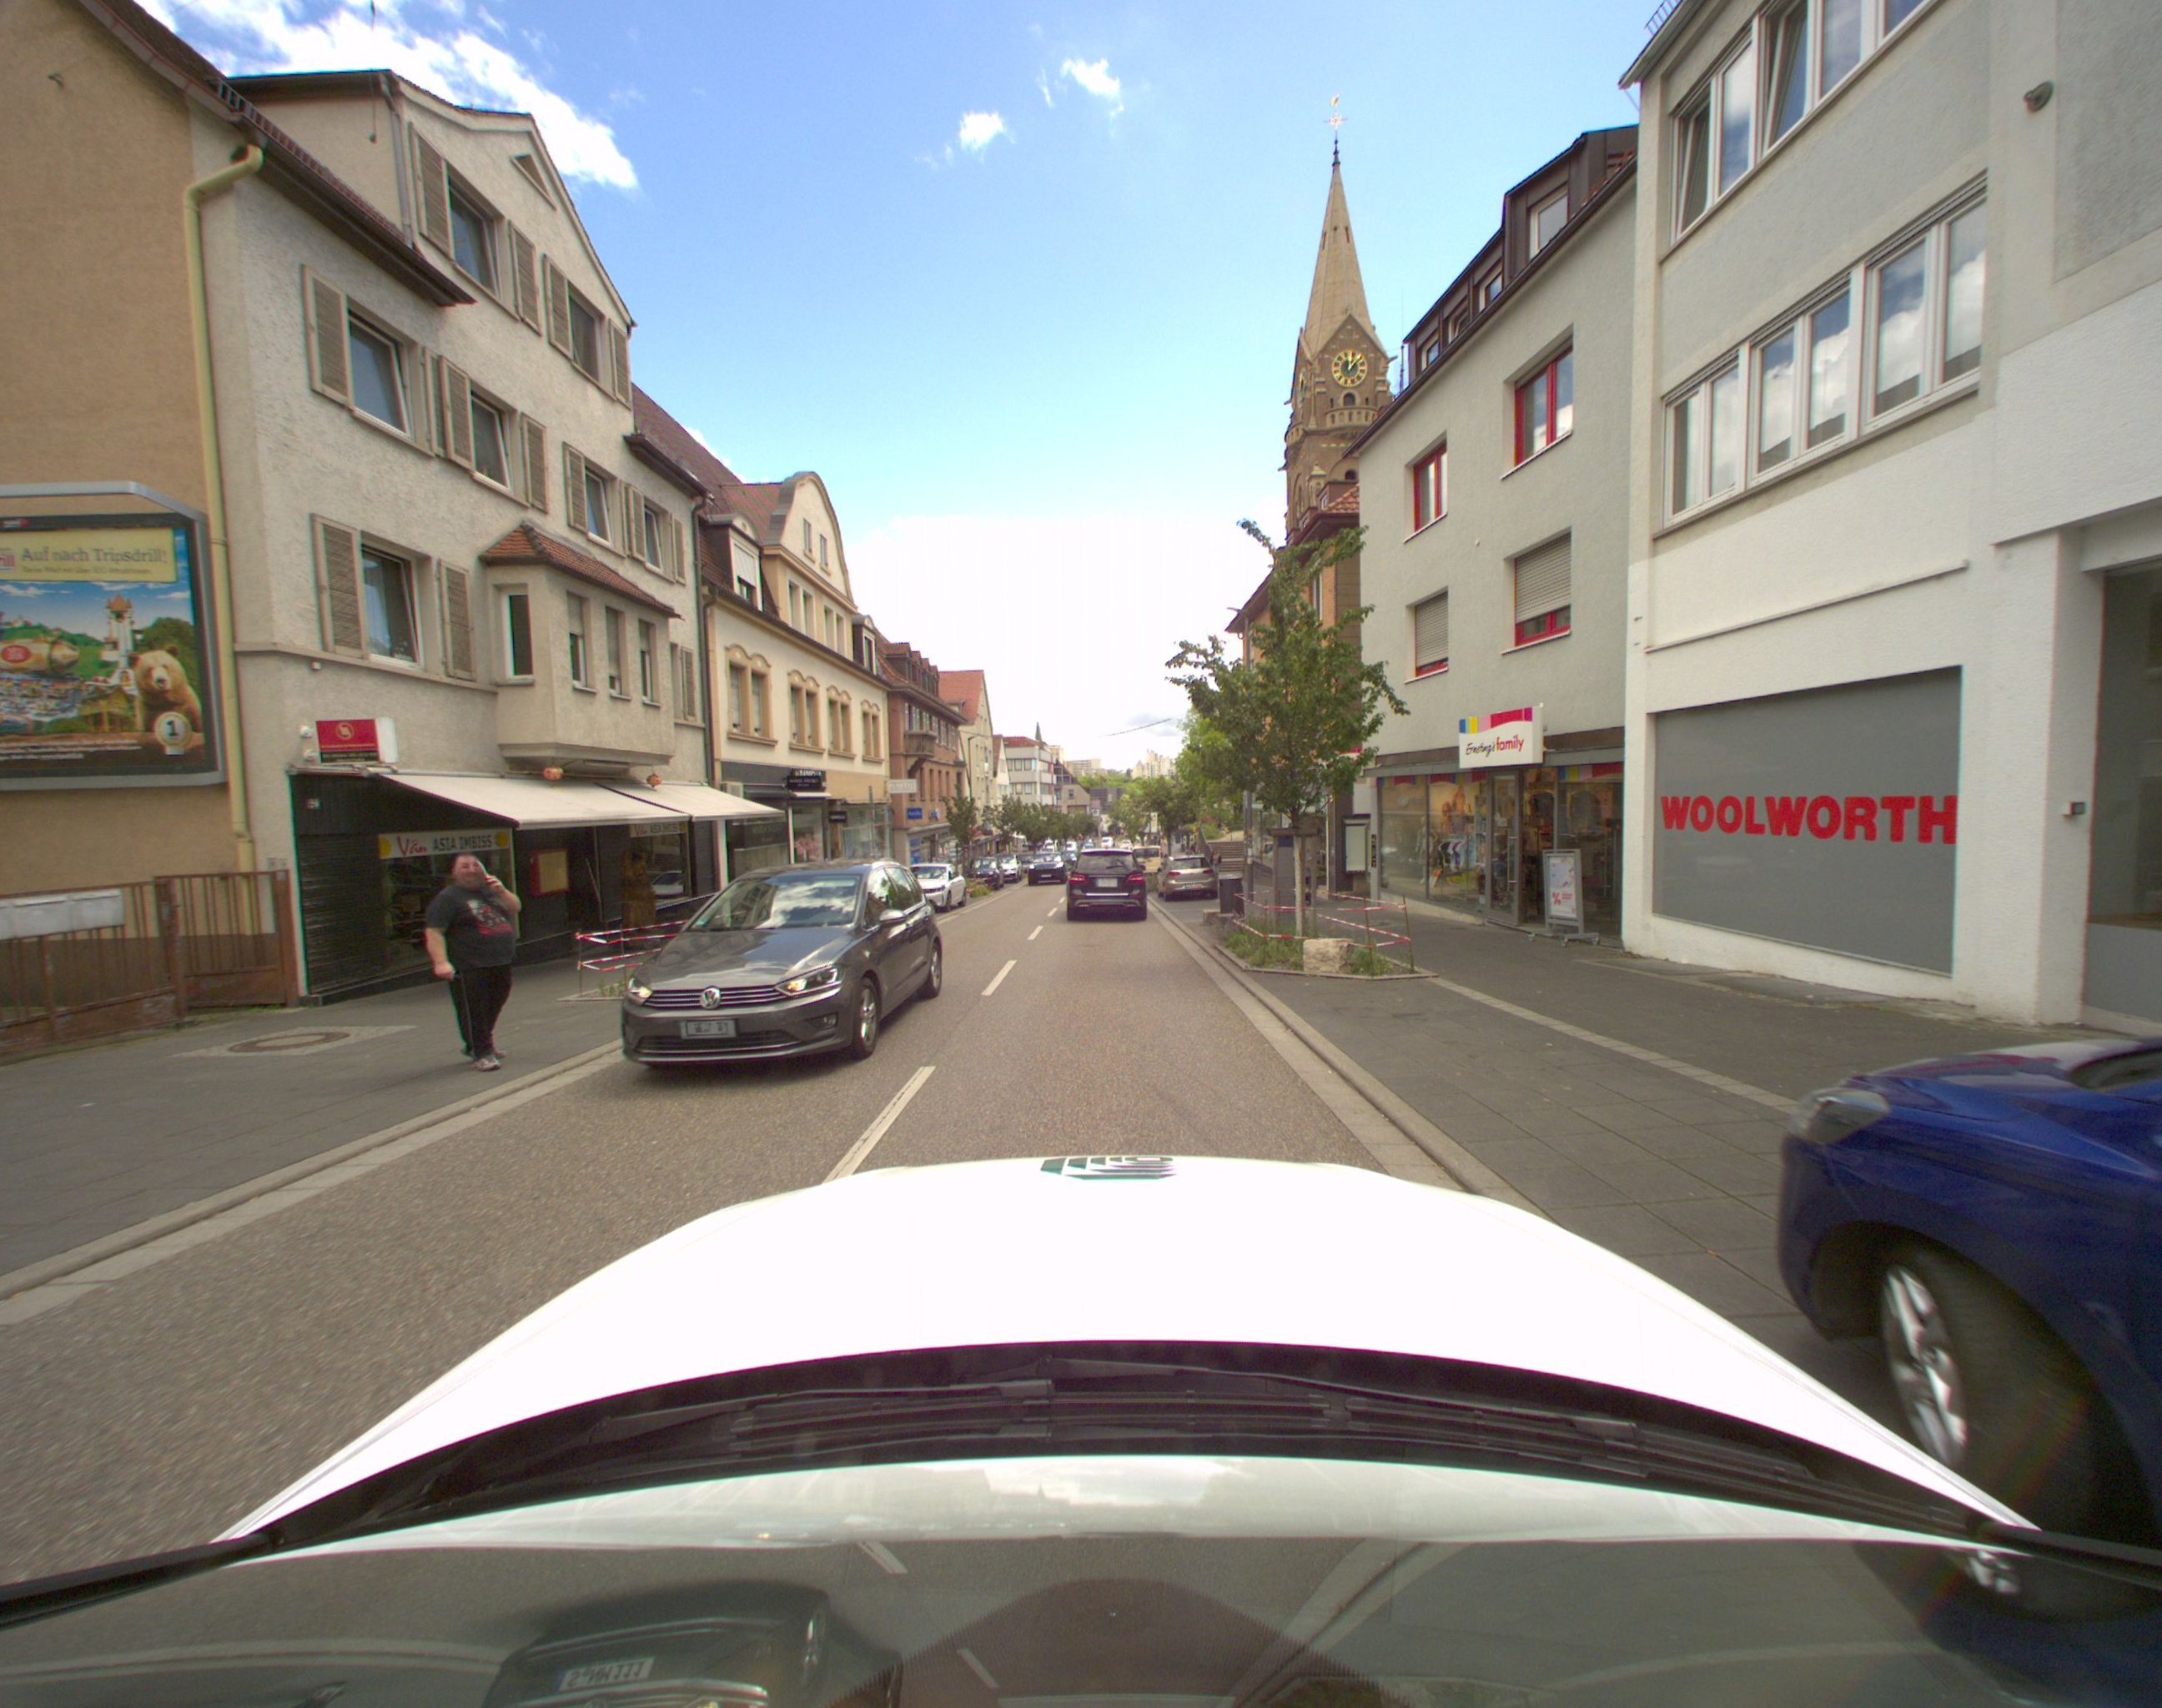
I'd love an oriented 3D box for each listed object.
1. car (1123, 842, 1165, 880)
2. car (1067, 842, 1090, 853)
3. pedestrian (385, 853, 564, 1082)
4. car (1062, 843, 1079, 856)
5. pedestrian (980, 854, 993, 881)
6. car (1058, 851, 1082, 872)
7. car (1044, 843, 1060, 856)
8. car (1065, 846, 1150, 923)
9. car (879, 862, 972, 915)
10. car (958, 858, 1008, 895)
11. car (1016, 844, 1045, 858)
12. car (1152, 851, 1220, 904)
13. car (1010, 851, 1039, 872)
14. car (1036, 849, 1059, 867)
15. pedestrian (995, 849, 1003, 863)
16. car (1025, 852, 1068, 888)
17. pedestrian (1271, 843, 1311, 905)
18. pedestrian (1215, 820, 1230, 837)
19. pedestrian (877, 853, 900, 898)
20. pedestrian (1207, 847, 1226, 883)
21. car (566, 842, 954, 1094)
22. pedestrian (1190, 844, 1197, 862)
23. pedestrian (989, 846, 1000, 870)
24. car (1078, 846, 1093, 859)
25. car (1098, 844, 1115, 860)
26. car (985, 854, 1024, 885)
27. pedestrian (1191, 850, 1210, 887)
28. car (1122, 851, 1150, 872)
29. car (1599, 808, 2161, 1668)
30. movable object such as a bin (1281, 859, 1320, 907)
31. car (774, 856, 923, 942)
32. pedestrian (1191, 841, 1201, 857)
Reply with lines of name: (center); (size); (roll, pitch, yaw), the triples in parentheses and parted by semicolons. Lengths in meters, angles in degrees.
car: (3.456, 0.347, 45.200); (1.931, 1.891, 4.708); (-4, 1, 1)
car: (-0.485, -1.255, 156.671); (4.143, 2.029, 1.799); (-2, 0, 35)
pedestrian: (-4.781, 0.843, 6.488); (0.735, 1.672, 0.862); (-1, 0, -2)
car: (-1.319, -0.600, 103.933); (1.919, 1.628, 4.264); (1, 1, 1)
pedestrian: (-5.885, 0.851, 50.671); (0.725, 1.667, 0.720); (-1, 0, 0)
car: (-0.866, 0.599, 66.621); (1.758, 1.617, 4.033); (-2, 0, 1)
car: (-3.761, -0.612, 106.941); (1.920, 1.628, 4.414); (1, 1, 0)
car: (0.671, 0.672, 20.683); (1.936, 1.740, 4.181); (0, 1, 2)
car: (-4.734, 1.005, 25.471); (1.919, 1.430, 4.264); (-1, 0, 2)
car: (-4.622, 1.026, 38.961); (1.921, 1.496, 4.260); (-2, 1, -2)
car: (-7.075, -0.411, 114.334); (3.978, 1.749, 1.998); (-4, 0, -3)
car: (3.501, 0.742, 27.783); (1.742, 1.465, 4.075); (-5, 1, 0)
car: (-4.328, 0.565, 62.806); (1.920, 1.496, 4.262); (1, 1, 0)
car: (-3.211, 0.386, 79.660); (1.919, 1.628, 4.264); (-1, 1, 2)
pedestrian: (-7.360, 0.167, 73.034); (0.563, 1.281, 0.758); (-1, 0, 0)
car: (-1.773, 0.787, 43.484); (1.985, 1.718, 4.447); (-3, 0, 0)
pedestrian: (5.721, 0.528, 22.222); (0.733, 1.585, 1.000); (-4, 0, 0)
pedestrian: (10.628, -1.927, 61.359); (0.986, 1.231, 0.984); (-1, 0, 3)
pedestrian: (-7.014, 0.779, 29.741); (0.545, 1.575, 0.863); (-3, 1, 0)
pedestrian: (6.335, 0.512, 38.147); (0.670, 1.632, 0.669); (-4, 0, -1)
car: (-2.525, 0.782, 7.645); (1.812, 1.618, 4.137); (-4, 0, 1)
pedestrian: (10.113, -0.068, 73.350); (0.565, 1.586, 0.668); (-2, 0, 10)
pedestrian: (-6.145, 0.259, 58.018); (0.639, 1.667, 0.720); (-1, 0, 0)
car: (0.562, -0.177, 98.572); (1.806, 1.508, 4.000); (-2, 0, 1)
car: (3.919, -0.271, 122.903); (2.163, 2.364, 4.630); (-2, 0, 5)
car: (-4.344, 0.850, 46.536); (1.921, 1.595, 4.455); (1, 1, -2)
pedestrian: (5.538, 0.673, 37.847); (0.670, 1.632, 0.669); (-4, 0, -1)
car: (4.244, 0.543, 63.191); (1.930, 1.457, 4.709); (-2, 1, 2)
car: (2.785, 0.639, 0.926); (1.745, 1.497, 3.795); (-4, -1, -3)
movable object such as a bin: (5.735, 0.743, 21.291); (0.719, 1.158, 0.907); (-4, 0, 0)
car: (-4.931, 0.870, 17.994); (1.920, 1.621, 4.639); (0, 0, 0)
pedestrian: (14.285, -0.644, 101.087); (1.044, 1.913, 0.939); (-4, 0, 8)
